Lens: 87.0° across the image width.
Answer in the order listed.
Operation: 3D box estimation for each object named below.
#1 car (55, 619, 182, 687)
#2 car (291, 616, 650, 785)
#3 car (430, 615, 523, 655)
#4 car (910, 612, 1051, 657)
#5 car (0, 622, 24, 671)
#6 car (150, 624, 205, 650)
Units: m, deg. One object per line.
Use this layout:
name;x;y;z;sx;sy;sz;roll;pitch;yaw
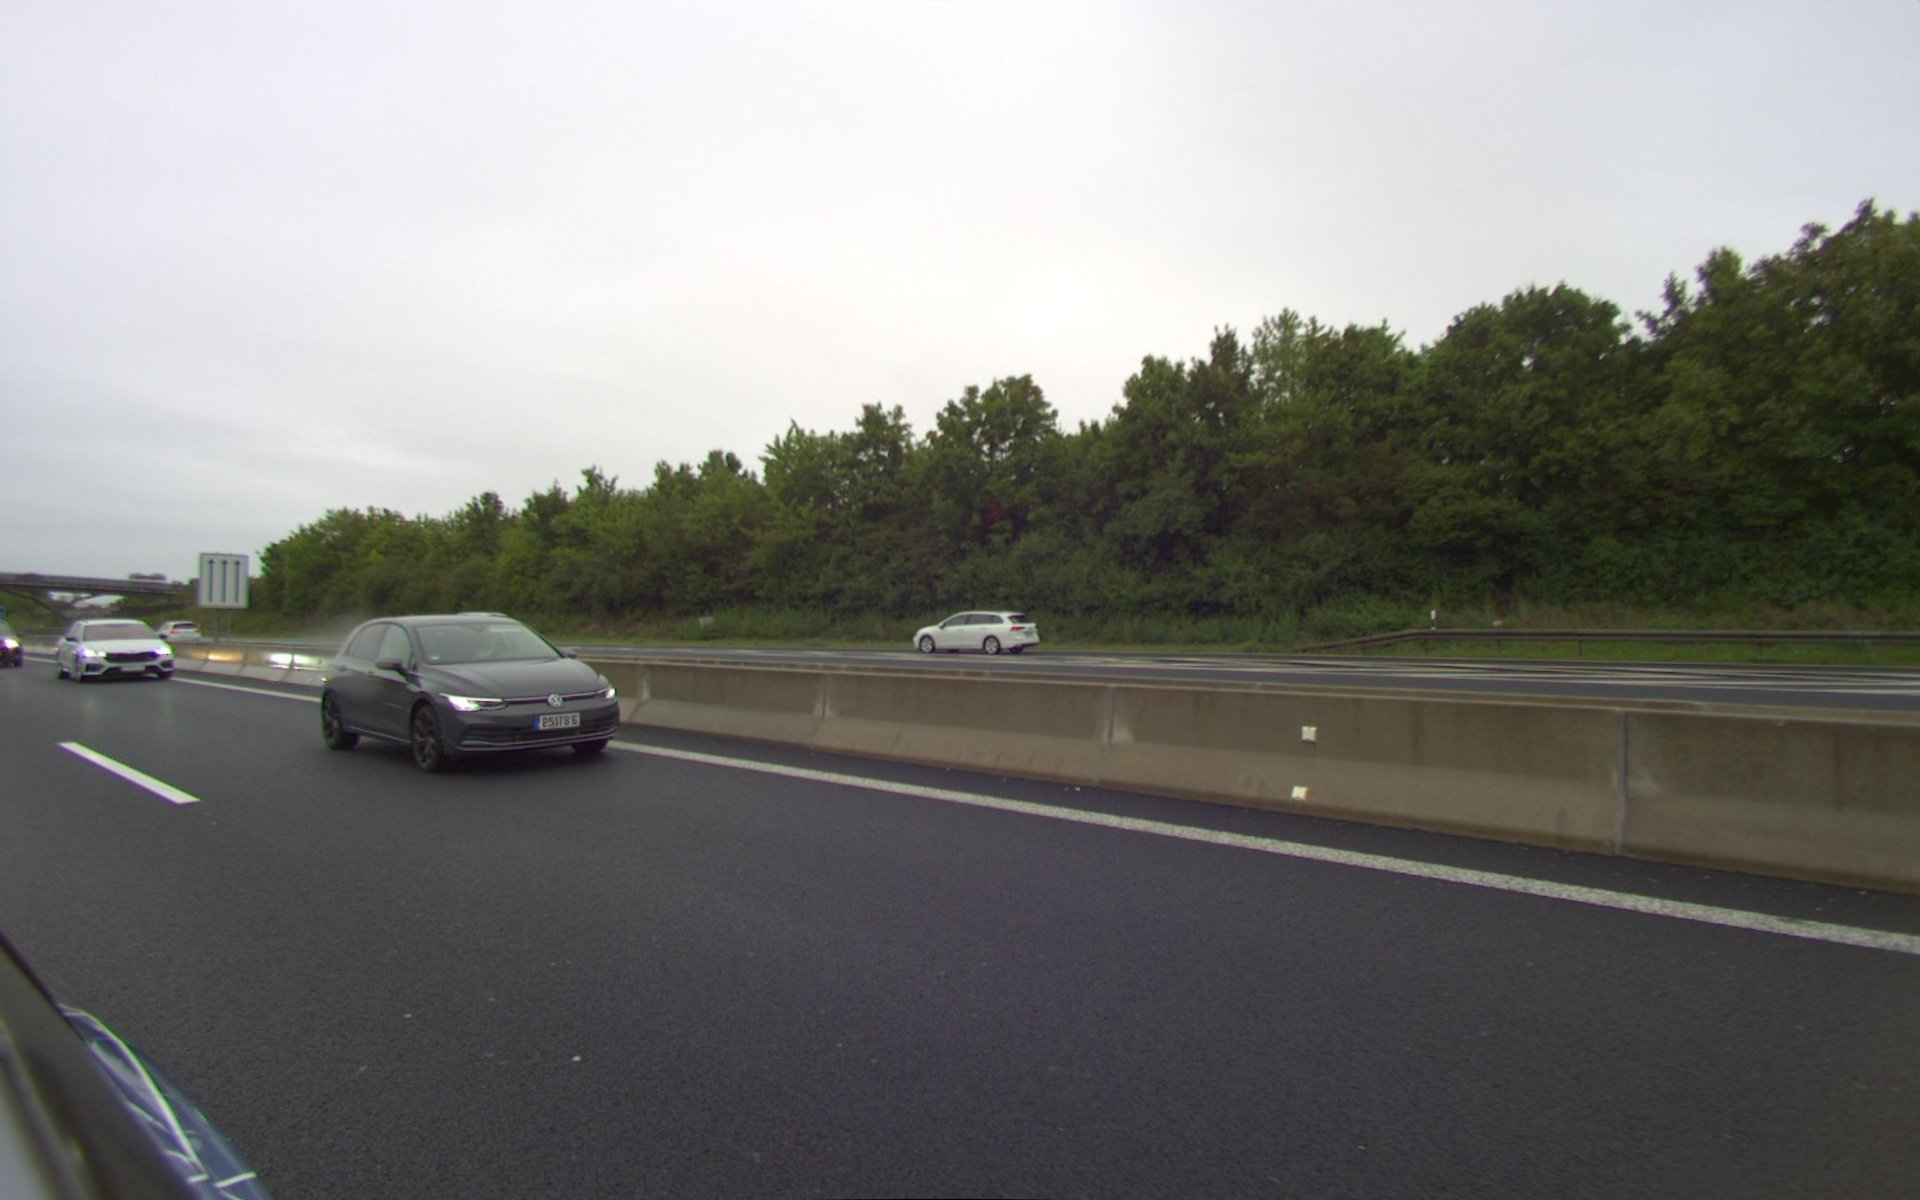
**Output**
car;-20.694;1.242;24.834;4.114;1.518;1.880;-2;-1;43
car;-5.359;0.911;10.803;4.457;1.416;1.881;-2;-1;41
car;-21.241;1.518;44.420;4.536;1.647;2.156;-2;-1;43
car;0.692;1.171;34.769;4.374;1.441;2.163;-1;-1;32
car;-31.488;1.478;32.452;4.114;1.518;1.880;-2;-1;43
car;-48.517;2.269;62.749;4.138;1.518;1.962;-2;-1;41
